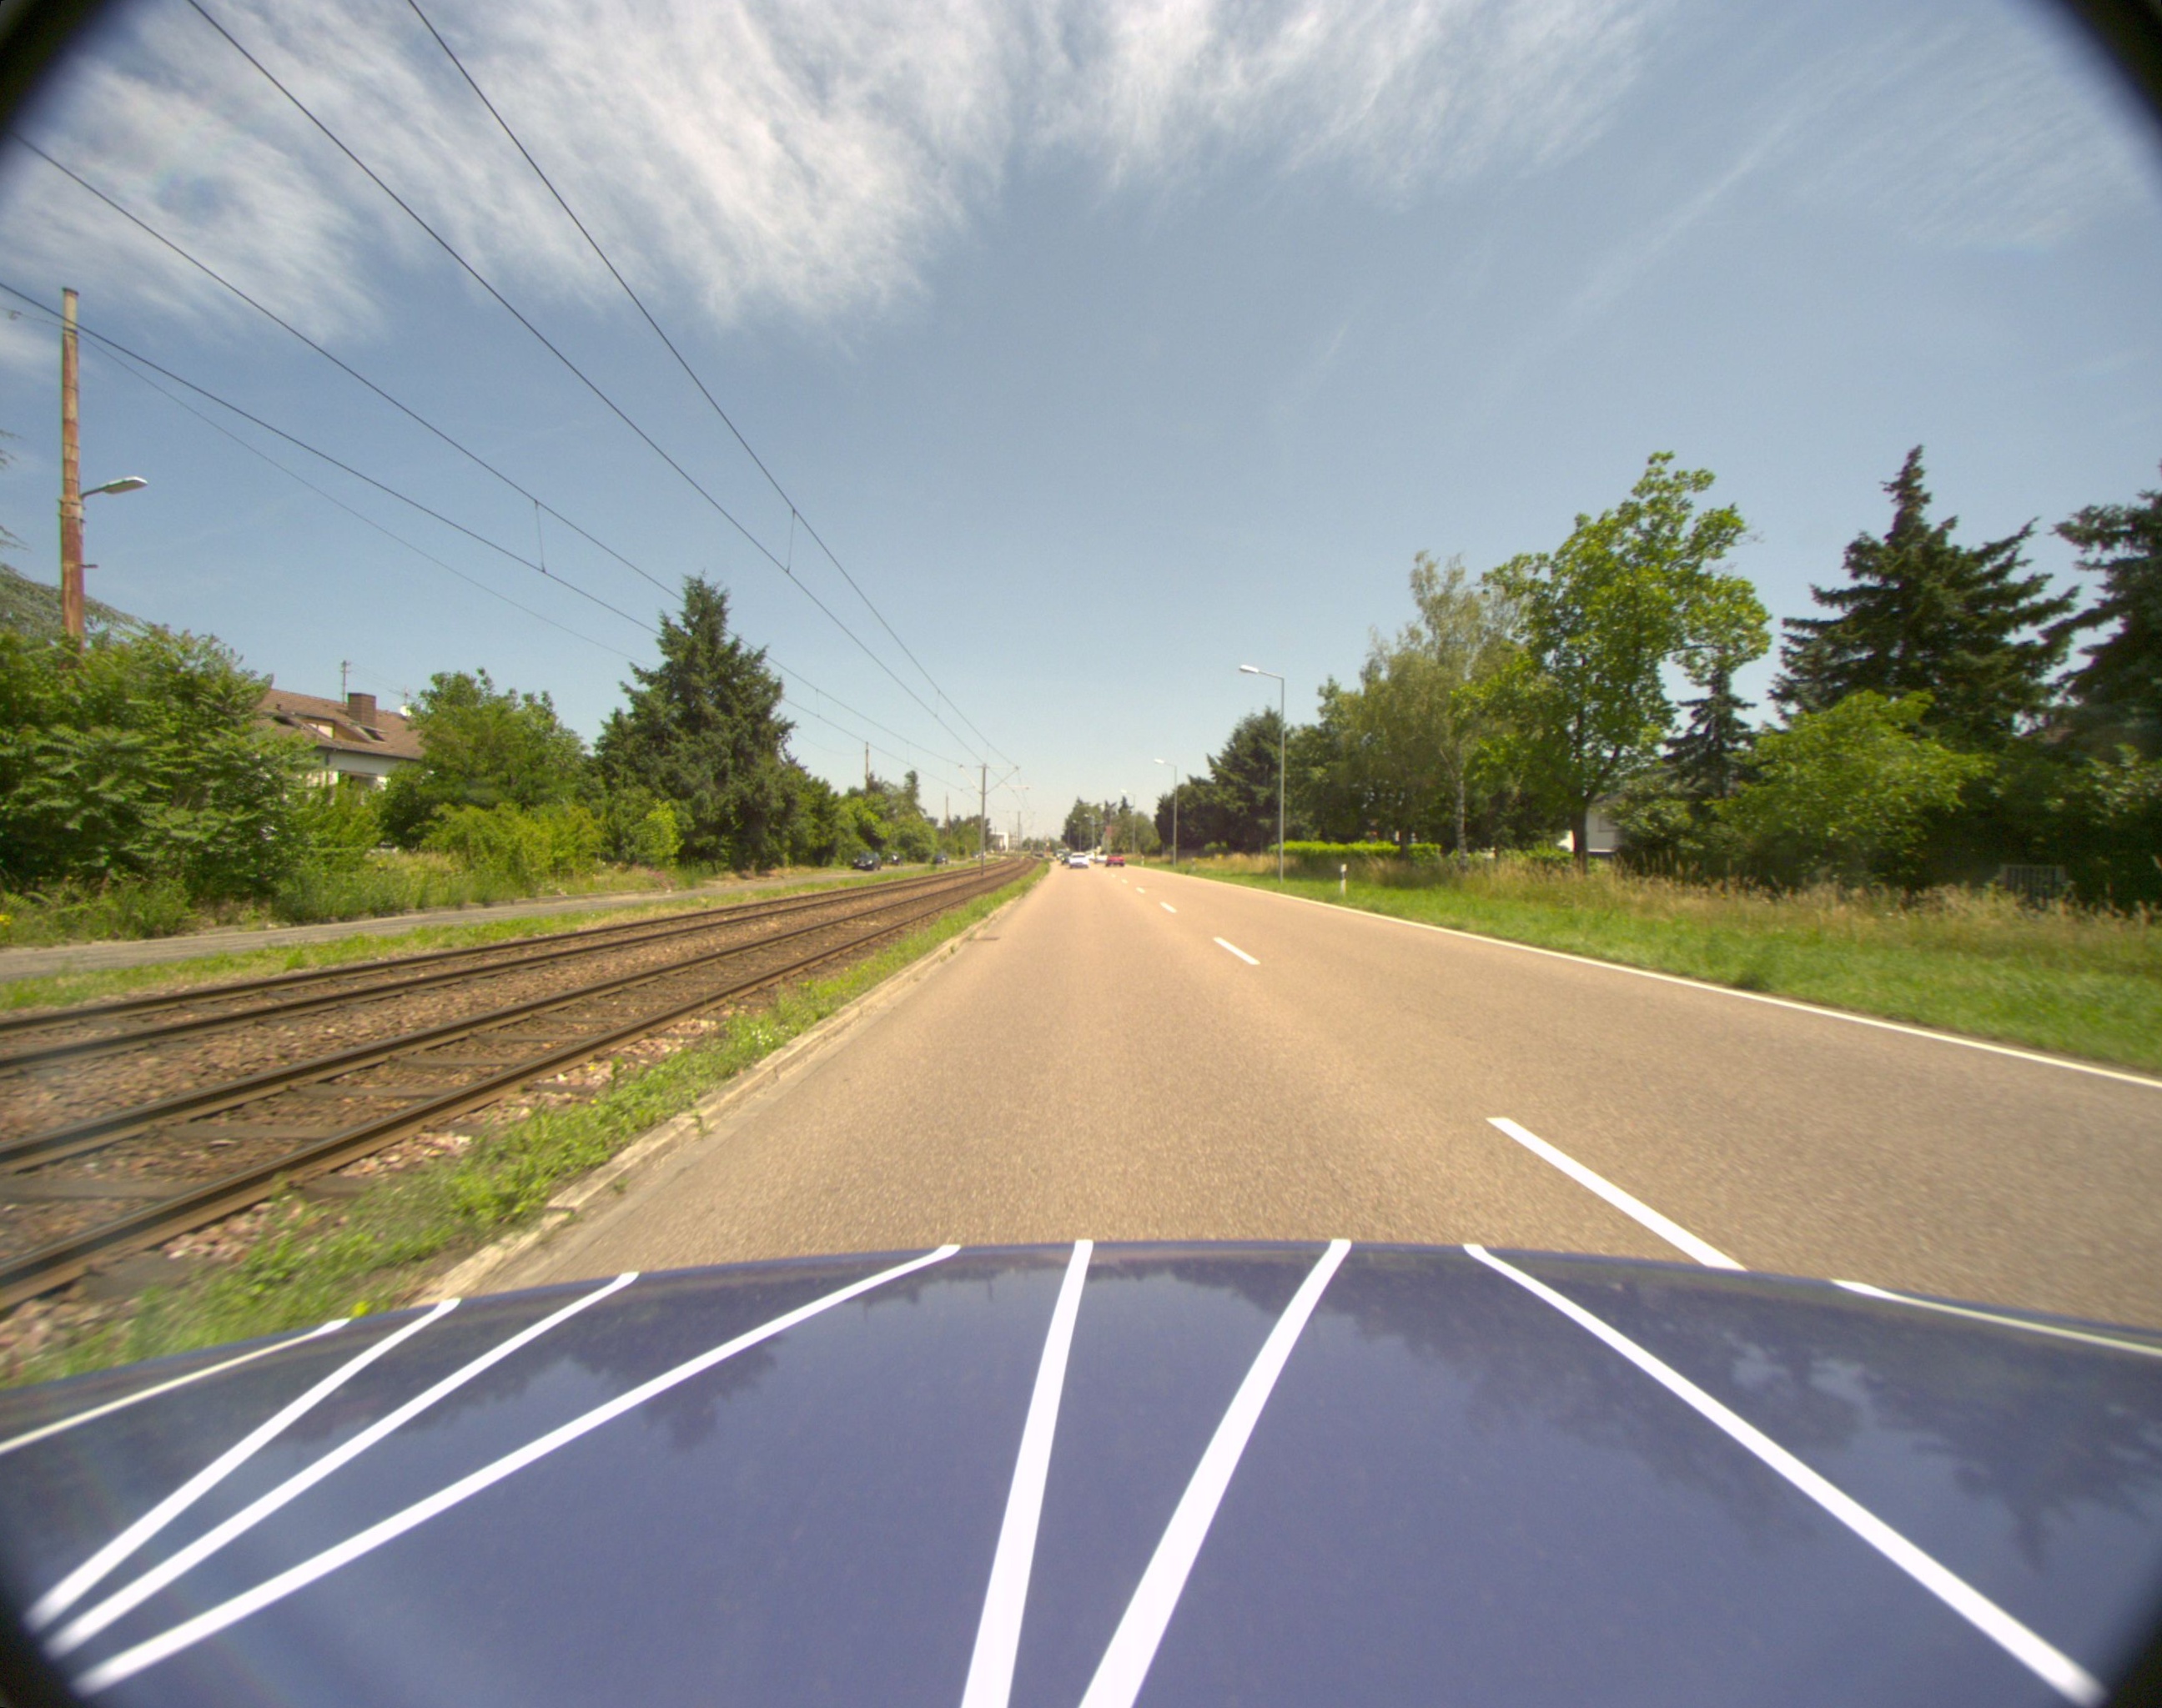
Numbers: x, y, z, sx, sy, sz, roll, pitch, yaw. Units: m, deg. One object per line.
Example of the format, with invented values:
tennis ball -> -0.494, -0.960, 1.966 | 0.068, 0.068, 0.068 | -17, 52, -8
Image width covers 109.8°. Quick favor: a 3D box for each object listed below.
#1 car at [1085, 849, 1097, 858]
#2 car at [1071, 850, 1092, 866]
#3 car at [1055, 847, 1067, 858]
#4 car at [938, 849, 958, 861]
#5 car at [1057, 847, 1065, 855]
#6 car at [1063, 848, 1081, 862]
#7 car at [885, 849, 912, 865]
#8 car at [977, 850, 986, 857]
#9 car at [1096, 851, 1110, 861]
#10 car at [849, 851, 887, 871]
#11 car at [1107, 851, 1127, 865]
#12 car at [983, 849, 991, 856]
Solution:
car -> 1.584, -0.081, 120.225 | 1.751, 1.494, 3.706 | 0, 1, -1
car -> 0.039, 0.345, 72.773 | 1.857, 1.447, 3.704 | 0, 1, -3
car -> -3.565, -0.335, 137.771 | 1.938, 2.002, 3.998 | 0, 1, -5
car -> -16.141, 0.125, 92.370 | 1.866, 1.322, 4.512 | 0, 1, -4
car -> -5.448, -0.816, 204.907 | 1.938, 2.002, 3.998 | 0, 1, -5
car -> -1.090, 0.120, 90.584 | 1.999, 1.576, 3.998 | 0, 1, -3
car -> -18.411, 0.256, 76.890 | 1.940, 1.552, 4.554 | 0, 1, -4
car -> -21.303, -0.154, 162.463 | 1.624, 1.414, 4.870 | 0, 1, -5
car -> 2.780, 0.202, 97.736 | 1.687, 1.242, 3.908 | 0, 1, -1
car -> -16.764, 0.516, 59.942 | 1.919, 1.462, 3.999 | 0, 1, -1
car -> 3.660, 0.392, 77.554 | 1.754, 1.293, 4.252 | 0, 1, -1
car -> -22.383, -0.365, 180.973 | 1.945, 1.414, 3.997 | 0, 1, -6
